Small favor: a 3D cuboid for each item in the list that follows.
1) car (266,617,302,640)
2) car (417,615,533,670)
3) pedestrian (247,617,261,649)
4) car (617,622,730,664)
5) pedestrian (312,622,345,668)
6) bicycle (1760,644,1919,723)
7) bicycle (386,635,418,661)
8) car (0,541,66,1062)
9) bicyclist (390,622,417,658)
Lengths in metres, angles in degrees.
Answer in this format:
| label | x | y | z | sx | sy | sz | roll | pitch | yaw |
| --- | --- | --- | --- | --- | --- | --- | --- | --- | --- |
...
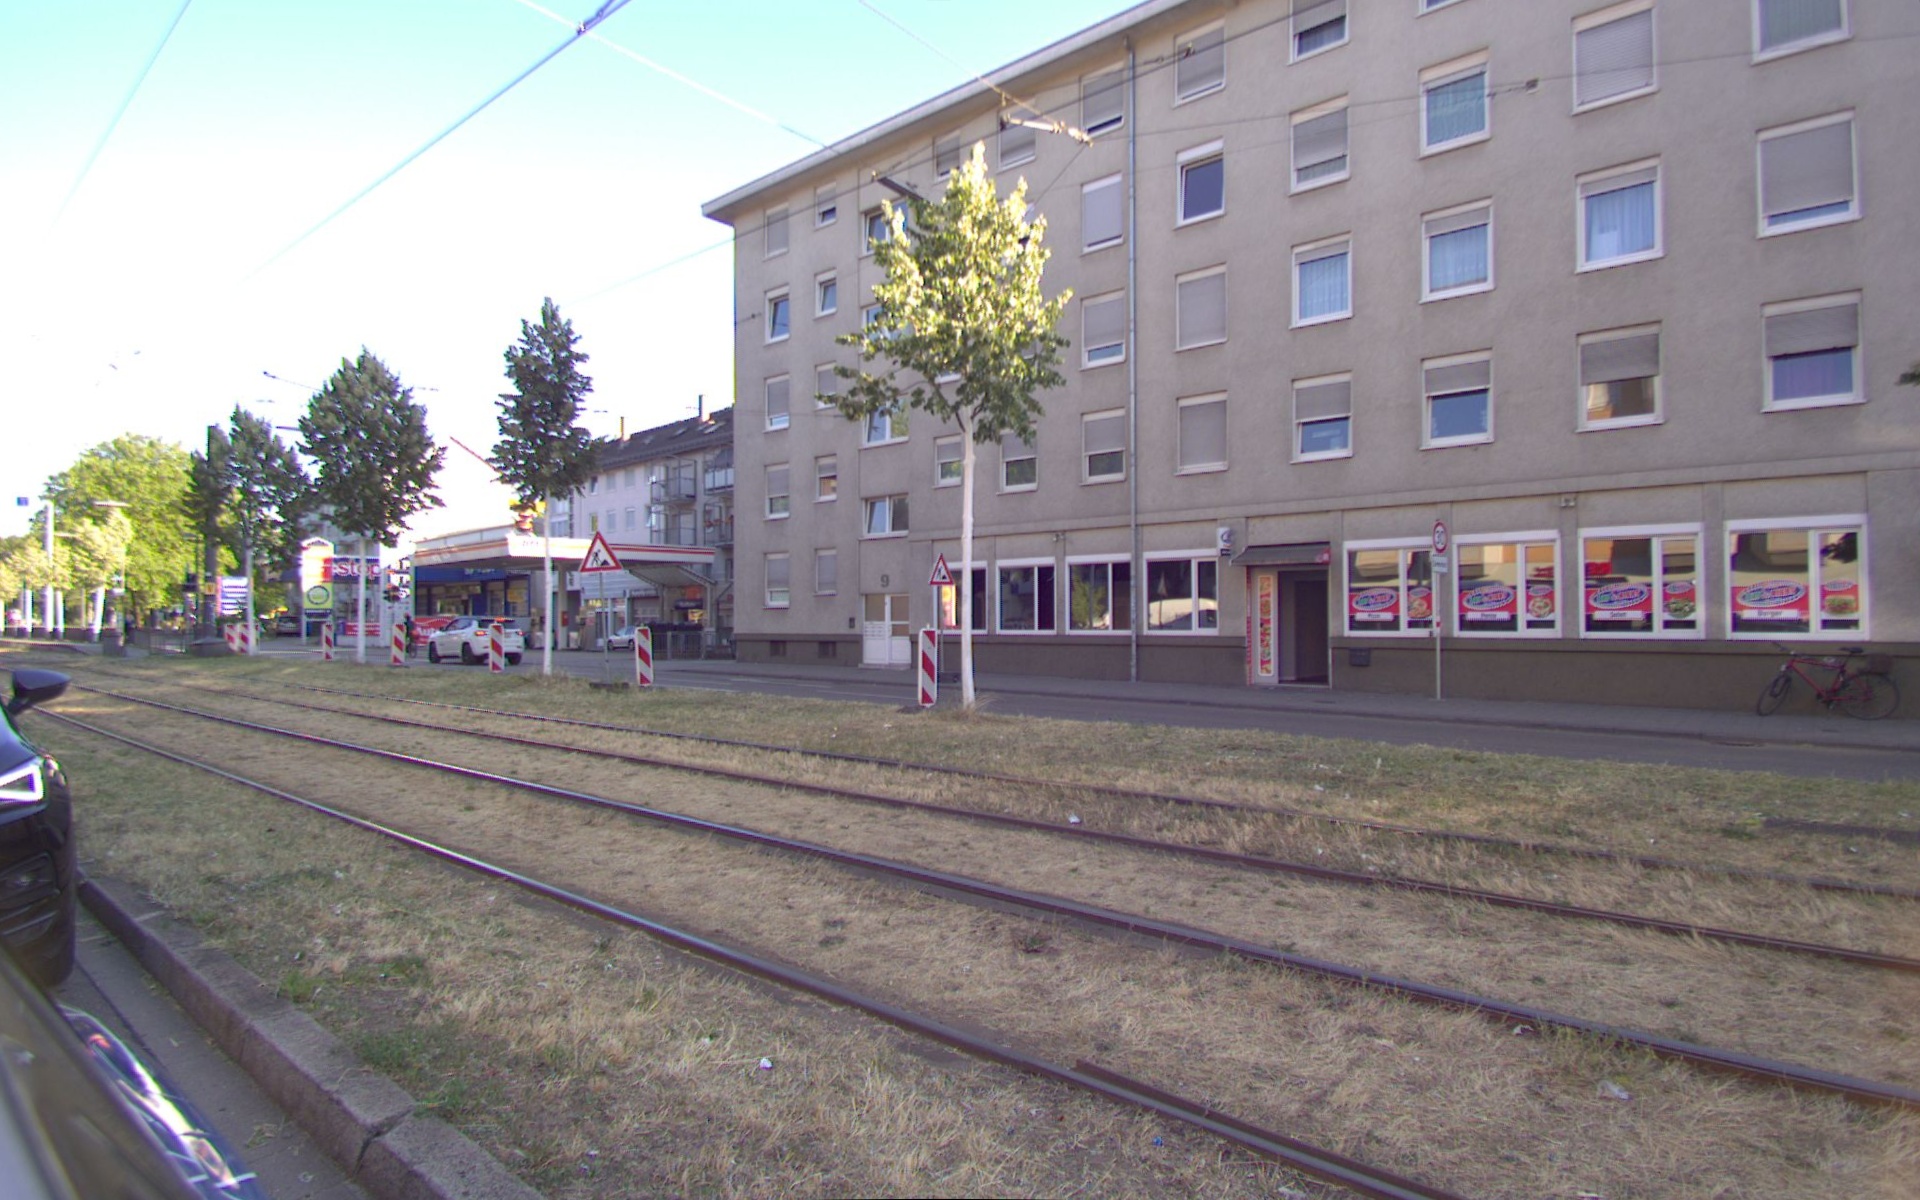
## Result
| label | x | y | z | sx | sy | sz | roll | pitch | yaw |
| --- | --- | --- | --- | --- | --- | --- | --- | --- | --- |
| car | -49.990 | 2.082 | 74.795 | 1.756 | 1.567 | 4.006 | -1 | 0 | -40 |
| car | -16.618 | 1.398 | 34.602 | 4.391 | 1.748 | 1.973 | -1 | -2 | 41 |
| pedestrian | -45.305 | 2.090 | 64.942 | 0.583 | 2.029 | 0.623 | -2 | -2 | 42 |
| car | -10.745 | 1.601 | 38.104 | 1.906 | 1.481 | 3.680 | -4 | -4 | 40 |
| pedestrian | -18.262 | 1.288 | 29.250 | 0.581 | 1.280 | 0.655 | -2 | -1 | 42 |
| bicycle | 12.795 | 1.181 | 14.675 | 1.844 | 1.031 | 0.601 | -1 | 0 | 41 |
| bicycle | -22.956 | 1.976 | 41.623 | 1.858 | 1.052 | 0.441 | -1 | -2 | 39 |
| car | -5.082 | 0.689 | 4.063 | 3.998 | 1.690 | 1.752 | -1 | -1 | 41 |
| bicyclist | -22.830 | 1.626 | 41.522 | 0.649 | 1.457 | 0.770 | -2 | -2 | 39 |
